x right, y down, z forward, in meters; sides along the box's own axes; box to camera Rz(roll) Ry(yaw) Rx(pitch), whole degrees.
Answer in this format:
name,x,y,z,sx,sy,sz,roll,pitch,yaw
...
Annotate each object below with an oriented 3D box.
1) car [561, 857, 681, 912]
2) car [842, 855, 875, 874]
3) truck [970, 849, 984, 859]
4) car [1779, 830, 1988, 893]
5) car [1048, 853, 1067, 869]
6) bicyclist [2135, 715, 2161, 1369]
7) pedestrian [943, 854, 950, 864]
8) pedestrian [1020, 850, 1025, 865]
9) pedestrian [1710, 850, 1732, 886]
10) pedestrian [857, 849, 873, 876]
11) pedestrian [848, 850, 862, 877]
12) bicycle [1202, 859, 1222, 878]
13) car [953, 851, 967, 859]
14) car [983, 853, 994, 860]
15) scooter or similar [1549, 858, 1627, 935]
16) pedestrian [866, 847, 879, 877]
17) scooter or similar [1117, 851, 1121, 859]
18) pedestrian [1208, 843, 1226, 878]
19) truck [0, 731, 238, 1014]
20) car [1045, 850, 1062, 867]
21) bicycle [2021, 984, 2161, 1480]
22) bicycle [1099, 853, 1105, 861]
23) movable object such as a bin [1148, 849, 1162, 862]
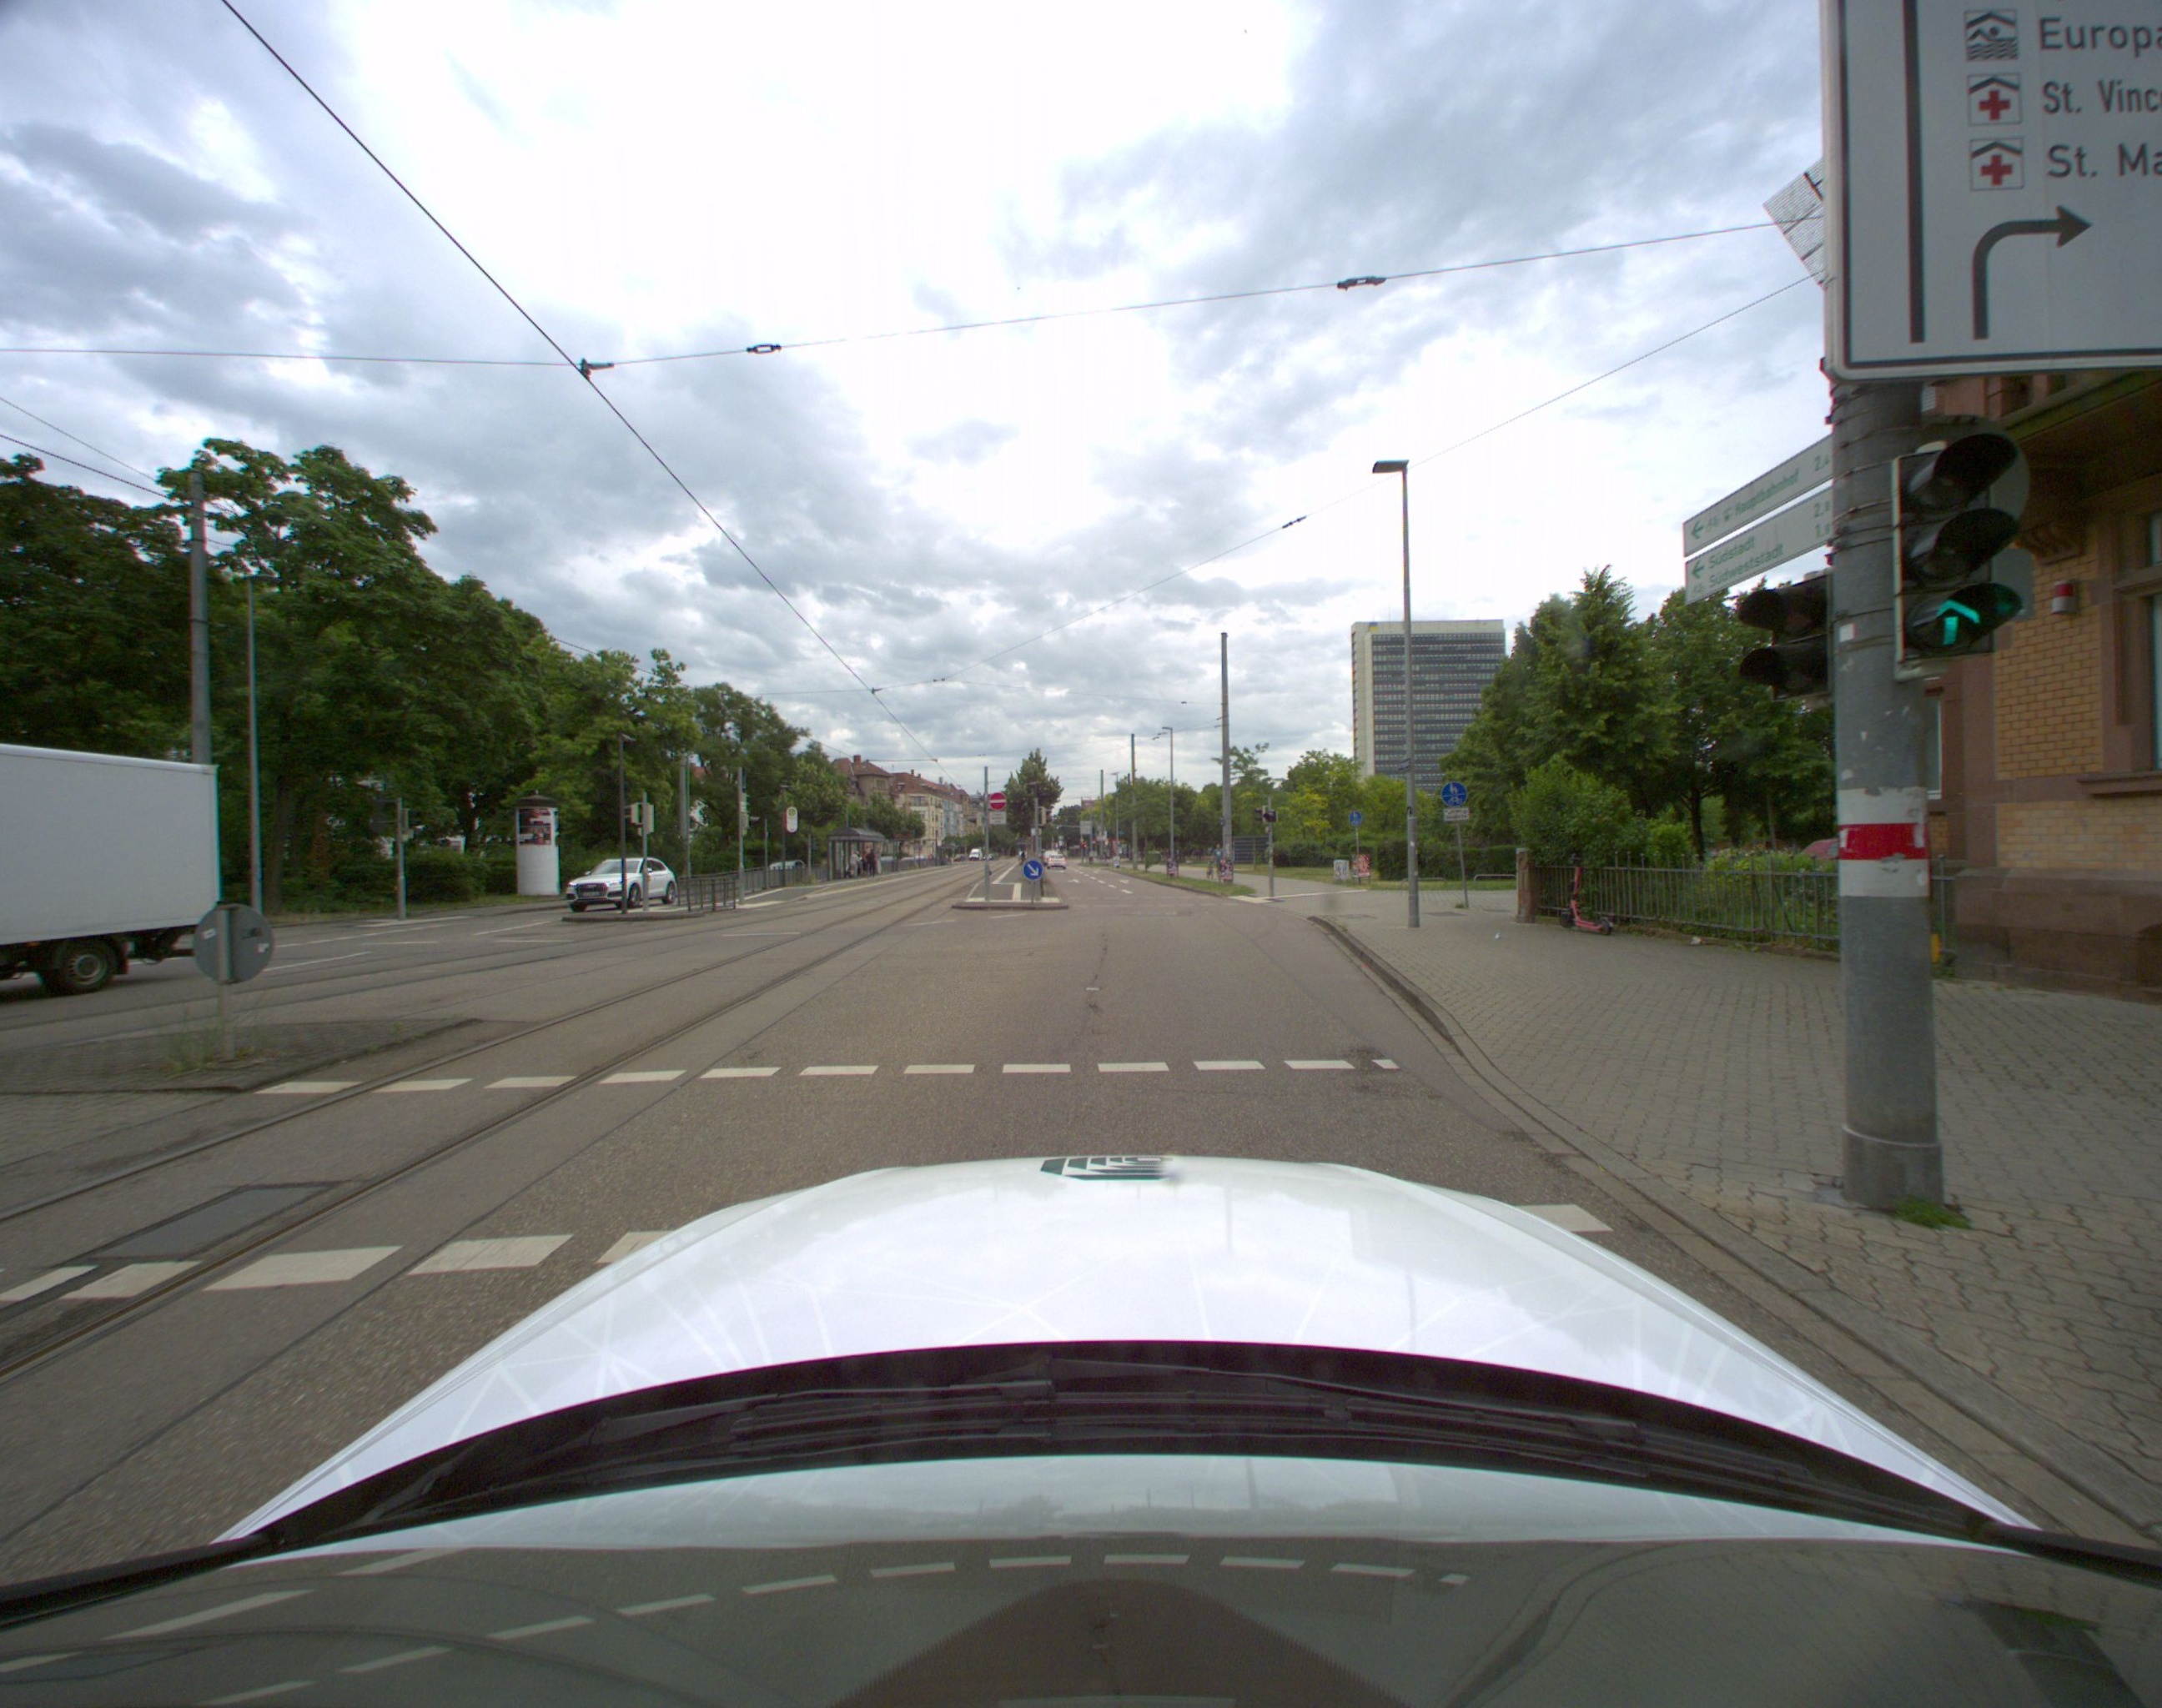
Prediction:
name,x,y,z,sx,sy,sz,roll,pitch,yaw
car,-15.152,0.940,27.122,1.767,1.639,4.528,-1,0,-5
car,-17.974,0.813,65.993,1.766,1.493,3.881,-1,0,-4
truck,-21.001,0.007,164.885,1.780,2.032,5.399,-1,0,3
car,20.348,0.211,20.788,1.697,1.452,3.451,-1,-1,-30
car,-2.271,0.673,77.971,1.778,1.472,4.007,-1,0,-2
bicyclist,3.472,0.515,2.108,0.685,1.795,0.881,0,0,-35
pedestrian,-17.239,0.662,104.273,0.864,1.267,0.692,-1,0,-6
pedestrian,-6.352,0.396,88.542,0.530,1.557,0.570,-1,0,0
pedestrian,24.597,0.526,31.308,0.585,1.357,0.630,-1,0,45
pedestrian,-13.659,0.520,51.481,0.767,1.660,1.022,-1,0,-7
pedestrian,-13.581,0.572,48.904,0.677,1.624,0.632,-1,0,-8
bicycle,7.086,0.768,44.148,0.653,1.003,1.777,-1,0,-3
car,-22.650,0.238,152.830,1.763,1.493,3.889,-1,0,3
car,-20.310,0.485,178.406,1.763,1.493,3.889,-1,0,3
scooter or similar,7.948,0.643,12.806,0.375,1.141,1.197,-1,0,-6
pedestrian,-12.372,0.479,48.396,0.700,1.715,0.696,-1,0,-12
scooter or similar,5.323,0.150,114.202,0.374,1.141,1.202,-1,0,7
pedestrian,7.371,0.351,44.163,0.738,1.869,0.681,-1,0,-5
truck,-13.047,0.215,8.184,2.182,3.157,7.314,-1,0,-7
car,-3.218,0.504,94.169,1.779,1.962,4.376,-1,0,-4
bicycle,3.351,0.974,2.284,1.876,0.924,0.788,0,0,-36
bicycle,2.989,0.439,114.737,0.677,1.155,1.897,-1,0,-1
movable object such as a bin,7.995,0.127,88.140,1.279,1.390,1.158,-1,0,-3
